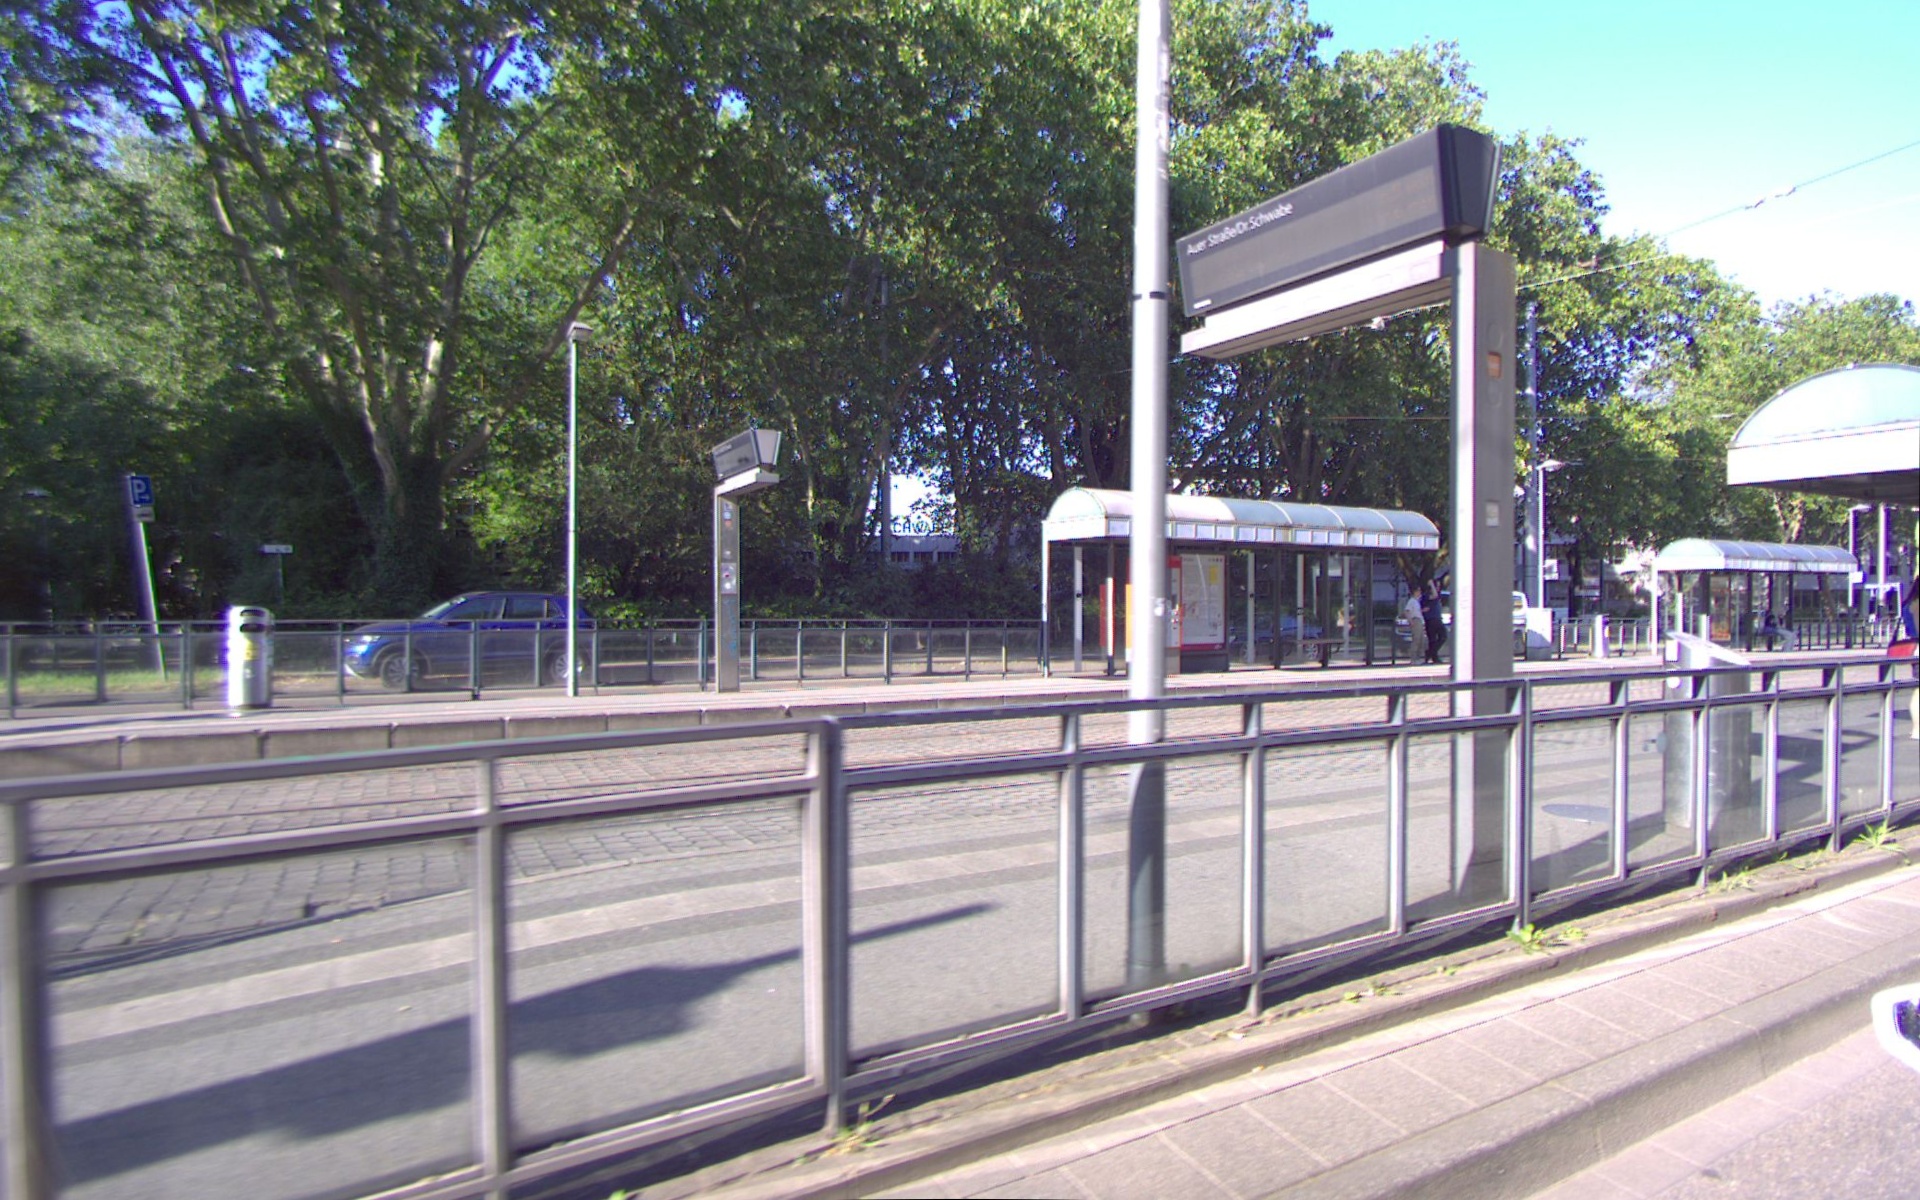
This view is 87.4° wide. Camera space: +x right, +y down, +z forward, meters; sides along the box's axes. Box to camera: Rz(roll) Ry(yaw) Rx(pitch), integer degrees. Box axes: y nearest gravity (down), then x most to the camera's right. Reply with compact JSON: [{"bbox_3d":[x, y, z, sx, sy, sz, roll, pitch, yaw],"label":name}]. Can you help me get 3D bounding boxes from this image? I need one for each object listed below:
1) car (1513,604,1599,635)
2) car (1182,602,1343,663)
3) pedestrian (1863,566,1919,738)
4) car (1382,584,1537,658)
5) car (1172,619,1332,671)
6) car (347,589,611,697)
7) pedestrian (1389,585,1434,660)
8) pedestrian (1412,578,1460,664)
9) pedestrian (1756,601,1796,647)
[{"bbox_3d":[46.225,1.511,77.994,5.616,2.367,2.155,0,0,-7],"label":"car"},{"bbox_3d":[8.203,0.881,27.144,4.293,1.530,1.785,1,-2,-32],"label":"car"},{"bbox_3d":[9.086,0.482,9.503,0.642,1.588,0.585,0,2,-30],"label":"pedestrian"},{"bbox_3d":[15.726,0.671,31.558,5.034,2.152,2.056,1,-2,-32],"label":"car"},{"bbox_3d":[7.869,1.179,26.950,4.267,1.309,1.760,1,-2,-32],"label":"car"},{"bbox_3d":[-8.321,0.726,17.474,3.931,1.673,1.892,1,-2,-34],"label":"car"},{"bbox_3d":[9.563,0.474,21.284,0.619,1.564,0.590,1,1,-30],"label":"pedestrian"},{"bbox_3d":[10.218,0.443,21.574,0.642,1.796,0.645,1,1,-28],"label":"pedestrian"},{"bbox_3d":[23.856,0.704,29.360,0.748,1.342,0.666,0,-2,-32],"label":"pedestrian"}]
